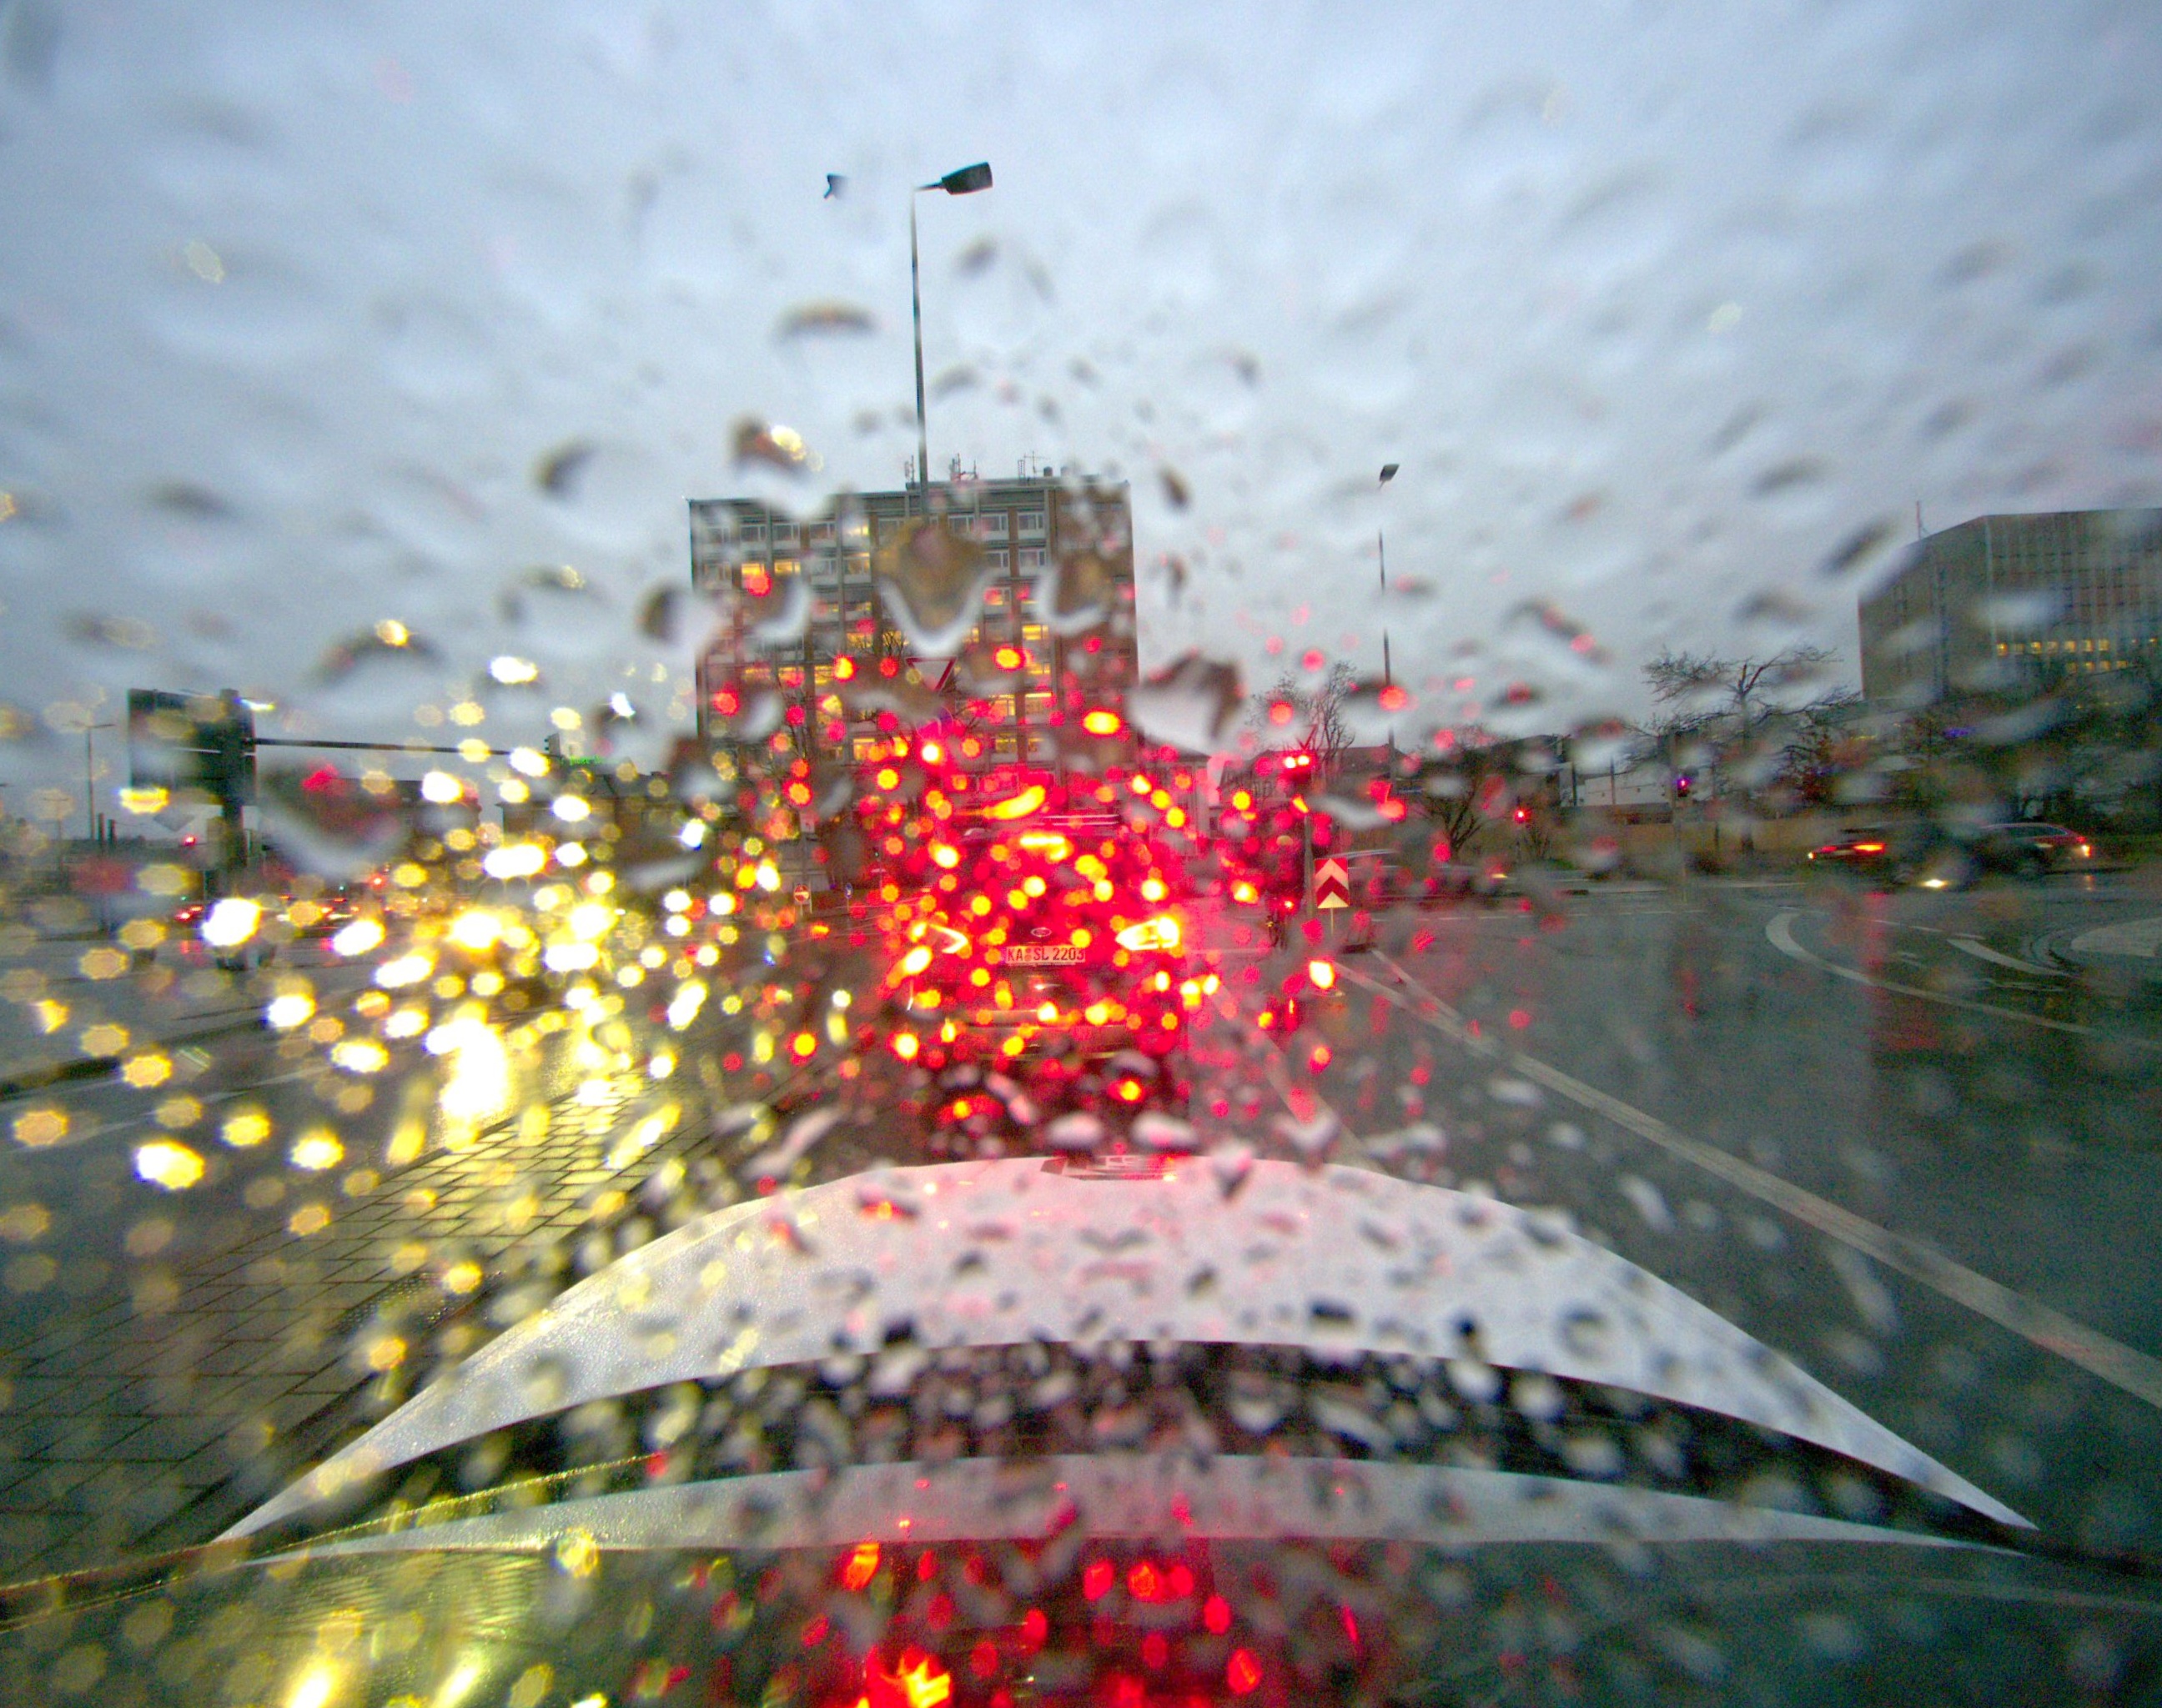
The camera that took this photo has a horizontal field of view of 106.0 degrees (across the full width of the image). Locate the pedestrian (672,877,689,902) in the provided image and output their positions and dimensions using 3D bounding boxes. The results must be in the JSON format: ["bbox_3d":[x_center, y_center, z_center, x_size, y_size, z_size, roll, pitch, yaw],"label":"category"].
[{"bbox_3d":[-27.091,2.379,55.114,0.754,1.628,0.560,-3,0,16],"label":"pedestrian"}]

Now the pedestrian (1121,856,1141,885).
[{"bbox_3d":[2.740,0.889,44.294,0.920,1.533,1.045,-3,0,6],"label":"pedestrian"}]

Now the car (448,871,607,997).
[{"bbox_3d":[-8.799,1.140,13.116,1.782,1.577,3.958,-3,0,-33],"label":"car"}]

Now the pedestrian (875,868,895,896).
[{"bbox_3d":[-11.737,1.663,48.739,0.753,1.628,0.725,-3,0,22],"label":"pedestrian"}]

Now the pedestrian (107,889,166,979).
[{"bbox_3d":[-20.344,1.698,17.542,0.725,1.838,0.681,-3,0,34],"label":"pedestrian"}]

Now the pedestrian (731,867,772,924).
[{"bbox_3d":[-12.024,1.515,29.714,0.922,1.978,0.962,-3,0,8],"label":"pedestrian"}]

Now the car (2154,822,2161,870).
[{"bbox_3d":[35.168,-0.355,23.945,4.390,1.477,1.814,-3,-1,6],"label":"car"}]

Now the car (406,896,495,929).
[{"bbox_3d":[-33.330,3.051,43.073,3.954,1.568,1.836,-1,-1,20],"label":"car"}]

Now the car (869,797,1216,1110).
[{"bbox_3d":[-0.162,0.587,6.687,1.986,1.789,4.001,0,-1,2],"label":"car"}]

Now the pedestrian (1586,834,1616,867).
[{"bbox_3d":[25.923,-0.188,40.631,0.956,1.603,0.796,-3,0,9],"label":"pedestrian"}]

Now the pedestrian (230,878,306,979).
[{"bbox_3d":[-17.329,1.549,17.387,0.996,2.021,0.792,-3,0,-39],"label":"pedestrian"}]

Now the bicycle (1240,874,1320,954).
[{"bbox_3d":[2.975,0.866,12.374,0.780,1.075,1.958,0,-1,2],"label":"bicycle"}]

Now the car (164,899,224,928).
[{"bbox_3d":[-56.065,3.731,51.468,3.948,1.568,1.838,-1,-1,31],"label":"car"}]

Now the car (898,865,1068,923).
[{"bbox_3d":[-2.898,1.192,24.459,4.626,1.477,1.817,-3,-1,11],"label":"car"}]

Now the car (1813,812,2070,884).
[{"bbox_3d":[20.726,-0.115,19.800,3.930,1.477,1.816,-3,-1,10],"label":"car"}]

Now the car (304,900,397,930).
[{"bbox_3d":[-43.756,3.616,48.875,1.582,1.482,3.840,-1,-1,31],"label":"car"}]

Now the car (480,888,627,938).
[{"bbox_3d":[-18.585,2.071,28.706,4.618,1.477,1.820,-3,-1,18],"label":"car"}]

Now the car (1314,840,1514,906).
[{"bbox_3d":[8.747,0.509,21.798,4.626,1.477,1.817,-3,-1,11],"label":"car"}]

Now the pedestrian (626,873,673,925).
[{"bbox_3d":[-16.628,1.714,31.378,0.991,1.842,1.146,-3,2,36],"label":"pedestrian"}]

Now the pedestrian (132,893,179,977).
[{"bbox_3d":[-20.550,1.785,18.080,0.733,1.770,0.552,-3,0,35],"label":"pedestrian"}]

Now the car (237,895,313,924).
[{"bbox_3d":[-53.096,3.610,53.659,1.505,1.702,3.411,-1,-1,39],"label":"car"}]

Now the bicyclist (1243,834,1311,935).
[{"bbox_3d":[2.940,0.441,12.314,0.780,1.453,1.134,0,-1,2],"label":"bicyclist"}]

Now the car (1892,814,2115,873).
[{"bbox_3d":[27.987,-0.293,24.843,4.390,1.477,1.814,-3,-1,6],"label":"car"}]

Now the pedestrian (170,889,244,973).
[{"bbox_3d":[-19.567,1.711,18.241,0.653,1.755,0.856,-3,0,18],"label":"pedestrian"}]

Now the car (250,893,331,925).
[{"bbox_3d":[-51.161,3.526,52.767,1.649,1.826,3.609,-1,-1,39],"label":"car"}]

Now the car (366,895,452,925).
[{"bbox_3d":[-38.404,3.171,46.616,1.496,1.461,3.453,-1,-1,31],"label":"car"}]

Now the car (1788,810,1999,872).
[{"bbox_3d":[29.362,-0.435,29.594,5.295,1.880,2.051,-3,-1,4],"label":"car"}]
